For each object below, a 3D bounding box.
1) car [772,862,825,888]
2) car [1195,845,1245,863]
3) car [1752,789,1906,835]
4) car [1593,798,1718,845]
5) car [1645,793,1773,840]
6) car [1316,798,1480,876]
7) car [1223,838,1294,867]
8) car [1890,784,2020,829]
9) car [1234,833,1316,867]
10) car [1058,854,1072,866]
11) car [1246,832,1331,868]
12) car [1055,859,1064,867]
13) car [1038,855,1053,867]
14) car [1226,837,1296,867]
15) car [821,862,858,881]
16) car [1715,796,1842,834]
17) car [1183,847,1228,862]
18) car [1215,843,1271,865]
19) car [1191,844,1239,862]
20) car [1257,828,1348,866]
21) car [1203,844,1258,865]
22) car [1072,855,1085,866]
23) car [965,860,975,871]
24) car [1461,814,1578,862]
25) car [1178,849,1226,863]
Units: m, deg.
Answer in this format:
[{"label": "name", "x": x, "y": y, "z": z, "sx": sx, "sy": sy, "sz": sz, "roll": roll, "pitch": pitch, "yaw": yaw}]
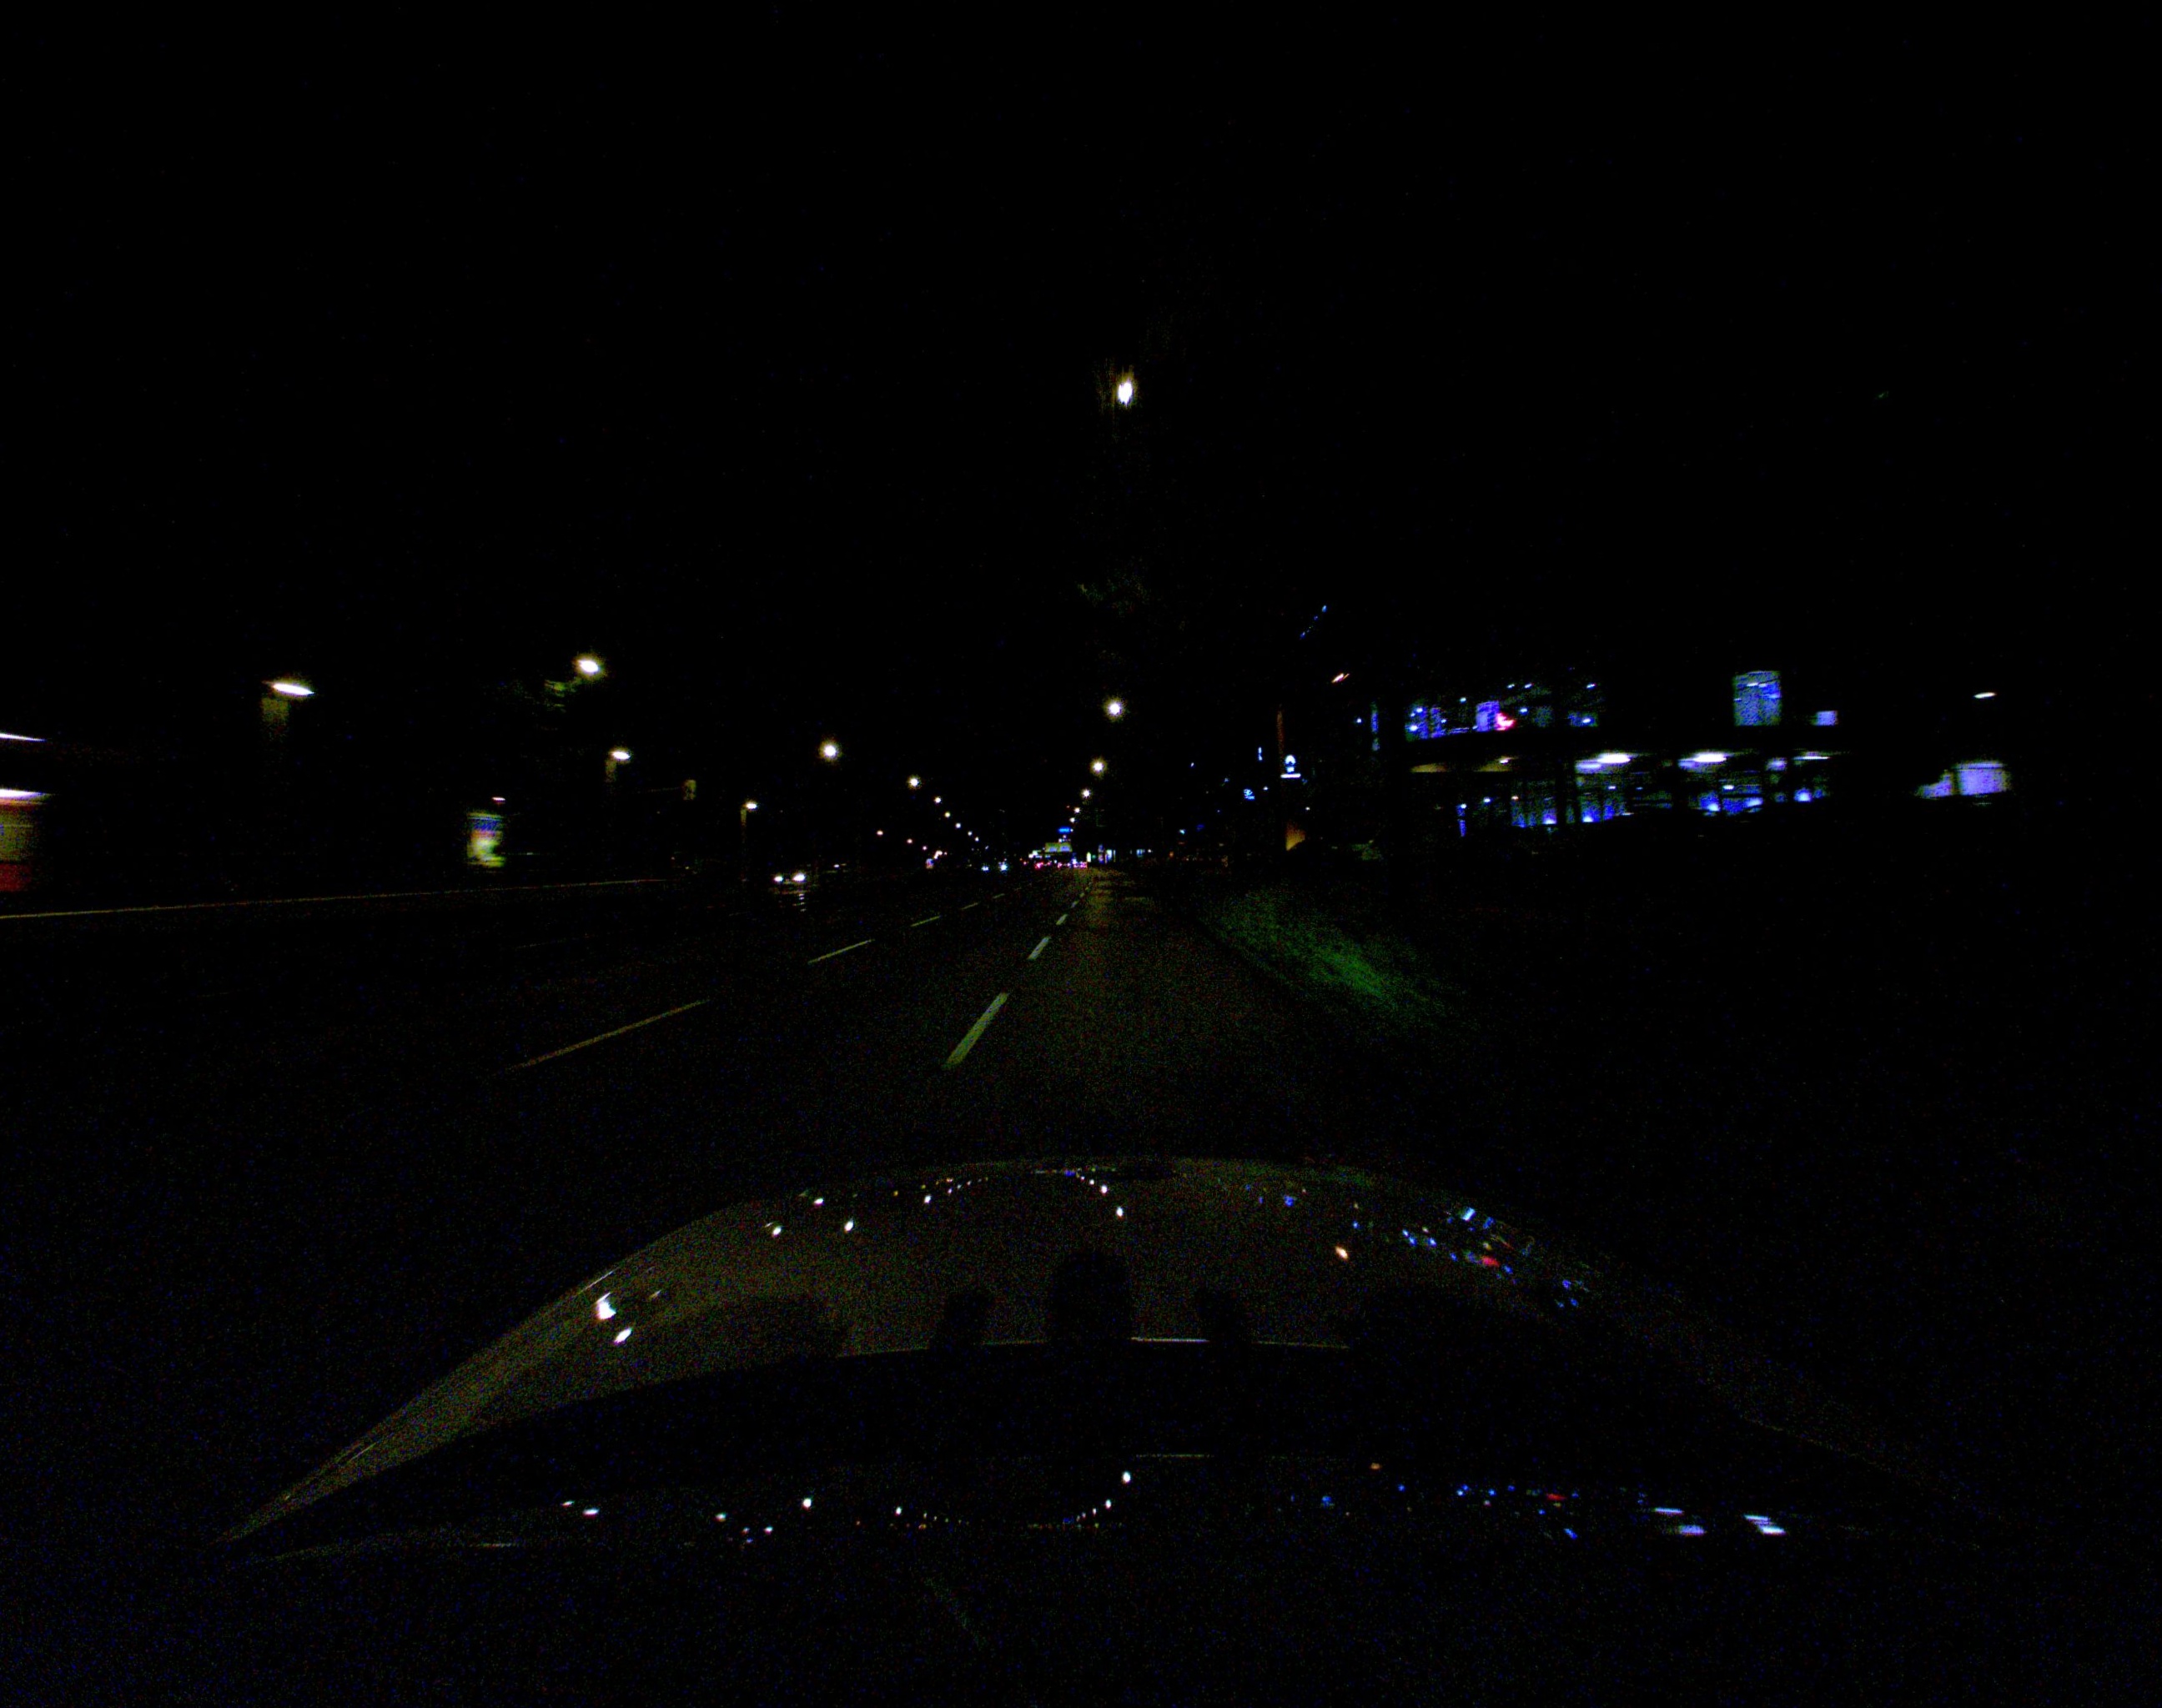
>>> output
[{"label": "car", "x": -17.170, "y": 1.279, "z": 49.684, "sx": 1.779, "sy": 1.497, "sz": 4.173, "roll": -1, "pitch": -2, "yaw": 0}, {"label": "car", "x": 12.572, "y": 0.011, "z": 73.624, "sx": 4.003, "sy": 1.391, "sz": 1.813, "roll": -3, "pitch": 1, "yaw": -22}, {"label": "car", "x": 33.124, "y": -1.817, "z": 36.240, "sx": 2.001, "sy": 1.662, "sz": 4.634, "roll": -1, "pitch": -1, "yaw": -22}, {"label": "car", "x": 24.396, "y": -1.335, "z": 34.757, "sx": 1.801, "sy": 1.577, "sz": 3.938, "roll": -7, "pitch": 1, "yaw": -22}, {"label": "car", "x": 27.042, "y": -1.565, "z": 35.231, "sx": 1.784, "sy": 1.601, "sz": 3.938, "roll": -7, "pitch": 1, "yaw": -22}, {"label": "car", "x": 13.117, "y": -0.715, "z": 33.707, "sx": 6.031, "sy": 2.529, "sz": 2.271, "roll": -7, "pitch": 1, "yaw": -17}, {"label": "car", "x": 12.501, "y": -0.116, "z": 57.568, "sx": 4.460, "sy": 1.547, "sz": 1.764, "roll": -6, "pitch": -1, "yaw": -9}, {"label": "car", "x": 39.524, "y": -2.111, "z": 36.911, "sx": 1.744, "sy": 1.598, "sz": 3.670, "roll": -7, "pitch": 1, "yaw": -30}, {"label": "car", "x": 12.216, "y": -0.234, "z": 51.371, "sx": 4.462, "sy": 1.687, "sz": 1.993, "roll": -6, "pitch": 1, "yaw": -11}, {"label": "car", "x": -2.815, "y": 1.053, "z": 142.198, "sx": 2.348, "sy": 2.129, "sz": 4.825, "roll": -1, "pitch": -1, "yaw": 0}, {"label": "car", "x": 12.389, "y": -0.238, "z": 48.689, "sx": 4.461, "sy": 1.810, "sz": 1.993, "roll": -4, "pitch": 0, "yaw": -11}, {"label": "car", "x": -4.857, "y": 2.121, "z": 186.016, "sx": 1.881, "sy": 1.860, "sz": 4.000, "roll": -1, "pitch": -1, "yaw": 0}, {"label": "car", "x": -6.183, "y": 1.162, "z": 142.168, "sx": 2.255, "sy": 2.014, "sz": 4.825, "roll": -1, "pitch": -1, "yaw": 0}, {"label": "car", "x": 11.944, "y": -0.112, "z": 54.198, "sx": 4.081, "sy": 1.568, "sz": 1.848, "roll": -6, "pitch": 1, "yaw": -11}, {"label": "car", "x": -19.422, "y": 1.390, "z": 65.723, "sx": 1.653, "sy": 1.516, "sz": 3.912, "roll": -1, "pitch": -1, "yaw": 2}, {"label": "car", "x": 30.422, "y": -1.676, "z": 35.654, "sx": 1.659, "sy": 1.335, "sz": 3.850, "roll": -3, "pitch": 0, "yaw": -22}, {"label": "car", "x": 12.471, "y": 0.073, "z": 81.723, "sx": 3.997, "sy": 1.424, "sz": 1.898, "roll": -1, "pitch": 0, "yaw": -17}, {"label": "car", "x": 12.476, "y": 0.000, "z": 62.931, "sx": 3.807, "sy": 1.453, "sz": 1.710, "roll": -4, "pitch": 0, "yaw": -14}, {"label": "car", "x": 12.590, "y": -0.083, "z": 76.316, "sx": 4.000, "sy": 1.470, "sz": 1.821, "roll": -4, "pitch": 0, "yaw": -19}, {"label": "car", "x": 11.830, "y": -0.366, "z": 43.543, "sx": 4.203, "sy": 1.663, "sz": 1.954, "roll": -4, "pitch": 0, "yaw": -11}, {"label": "car", "x": 12.470, "y": 0.011, "z": 68.098, "sx": 4.031, "sy": 1.373, "sz": 1.816, "roll": -5, "pitch": 0, "yaw": -16}, {"label": "car", "x": -0.420, "y": 1.323, "z": 160.839, "sx": 2.419, "sy": 2.113, "sz": 4.825, "roll": -1, "pitch": -1, "yaw": 0}, {"label": "car", "x": -29.181, "y": 3.018, "z": 214.198, "sx": 2.147, "sy": 2.671, "sz": 6.933, "roll": -4, "pitch": -1, "yaw": -12}, {"label": "car", "x": 18.103, "y": -0.631, "z": 33.820, "sx": 1.812, "sy": 1.712, "sz": 3.938, "roll": -4, "pitch": 0, "yaw": -22}, {"label": "car", "x": 12.579, "y": 0.177, "z": 84.444, "sx": 4.651, "sy": 1.264, "sz": 1.932, "roll": -2, "pitch": 1, "yaw": -25}]
